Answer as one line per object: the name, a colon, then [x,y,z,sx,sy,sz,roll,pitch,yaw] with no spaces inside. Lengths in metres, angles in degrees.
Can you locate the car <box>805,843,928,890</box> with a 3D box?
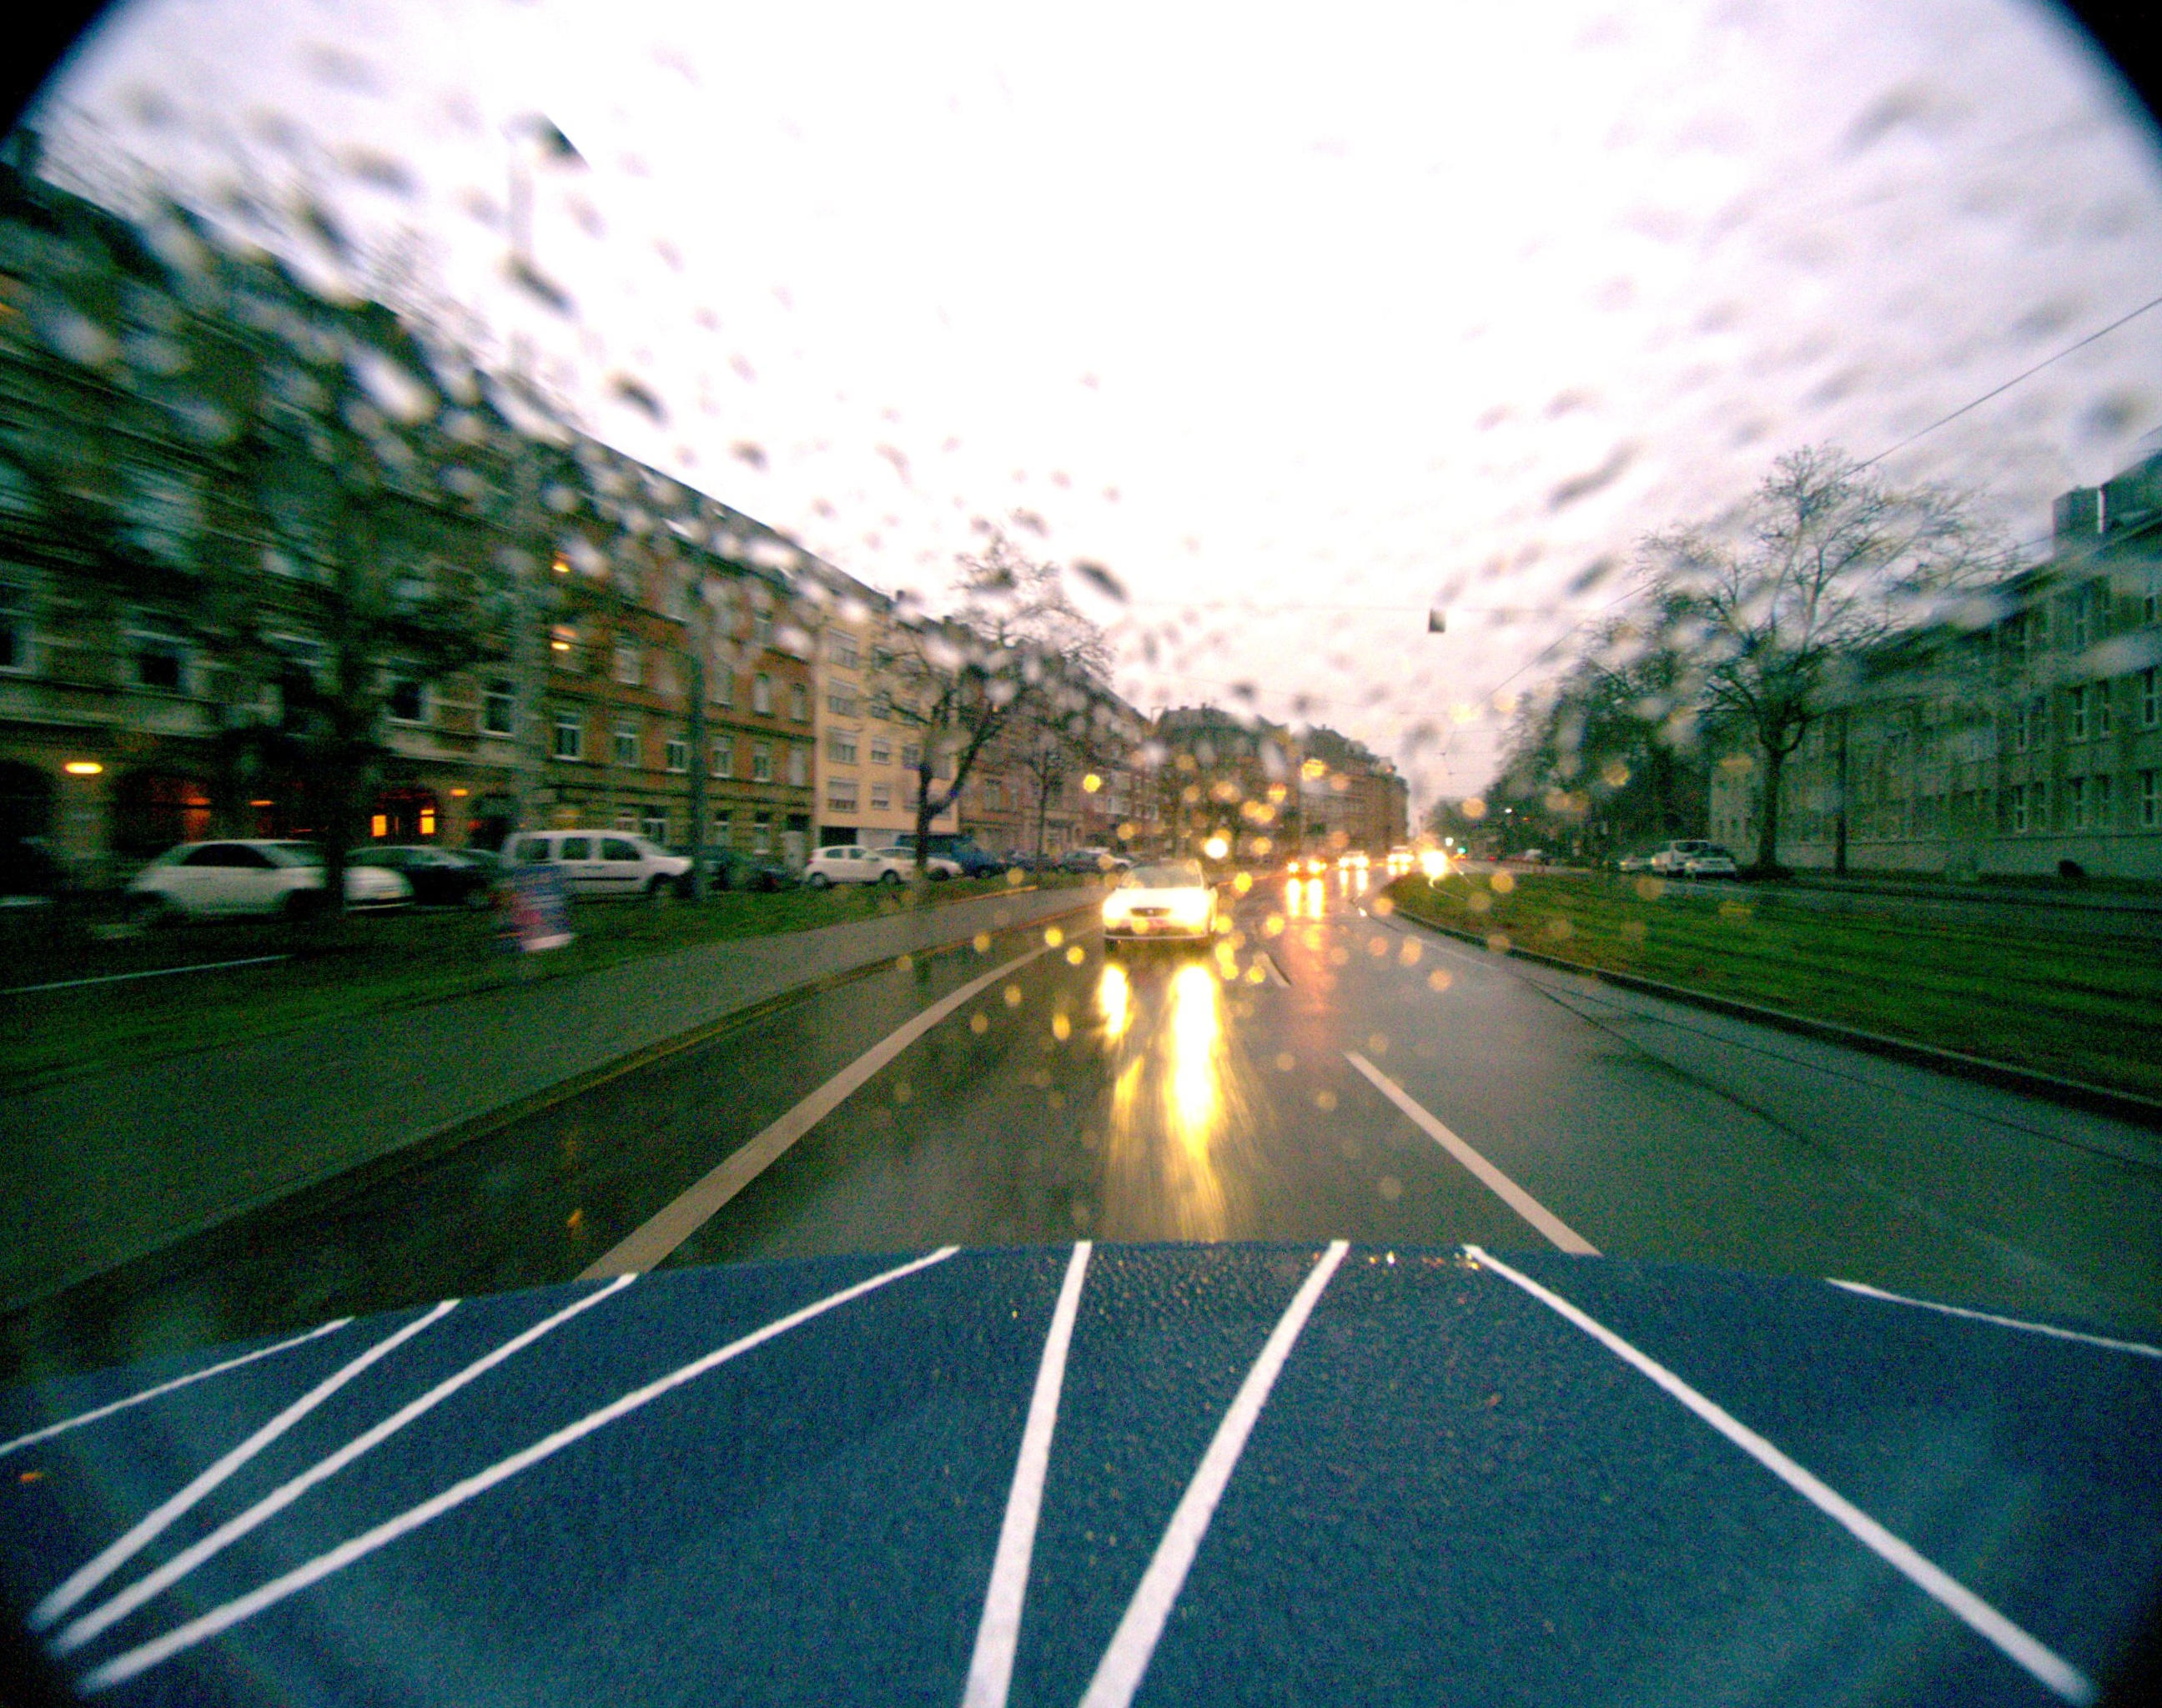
car: [-7.460,0.436,26.708,3.772,1.424,1.761,-3,0,-1]

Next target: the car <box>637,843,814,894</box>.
car: [-9.813,0.414,21.218,4.062,1.227,1.770,2,-1,-4]

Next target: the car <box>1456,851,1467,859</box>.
car: [87.041,0.294,173.793,1.948,1.805,4.008,0,1,33]

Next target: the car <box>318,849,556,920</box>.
car: [-13.385,0.599,15.983,3.433,1.343,1.663,-1,0,-8]

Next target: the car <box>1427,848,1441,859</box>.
car: [59.716,-0.116,128.632,1.646,1.740,3.561,0,1,33]

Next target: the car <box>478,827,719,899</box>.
car: [-11.659,0.215,18.634,4.663,1.583,1.776,1,1,-6]

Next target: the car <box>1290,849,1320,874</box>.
car: [13.277,0.408,45.145,1.588,1.418,3.137,0,0,15]

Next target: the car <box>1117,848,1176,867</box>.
car: [4.387,0.233,51.033,3.765,1.271,1.601,0,0,-5]

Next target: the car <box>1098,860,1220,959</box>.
car: [1.527,0.883,13.555,1.713,1.405,3.682,-2,0,12]

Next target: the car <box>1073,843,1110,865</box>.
car: [0.930,0.000,64.746,1.671,1.693,3.471,-2,0,30]

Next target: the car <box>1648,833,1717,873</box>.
car: [33.503,-0.098,42.460,1.995,2.002,4.516,-3,0,25]

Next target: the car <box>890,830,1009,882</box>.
car: [-5.523,0.075,31.975,4.724,1.971,1.797,-2,0,-12]

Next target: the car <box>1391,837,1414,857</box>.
car: [41.583,-0.931,98.149,2.125,2.366,5.648,-2,0,29]

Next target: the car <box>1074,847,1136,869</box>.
car: [1.506,0.267,47.100,3.763,1.325,1.601,0,1,1]

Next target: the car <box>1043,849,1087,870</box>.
car: [-1.264,0.404,60.186,1.690,1.534,4.007,-2,1,28]

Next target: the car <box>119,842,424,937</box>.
car: [-14.043,0.583,13.354,3.465,1.435,1.613,-2,0,-3]

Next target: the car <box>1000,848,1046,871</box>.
car: [-4.124,0.361,54.411,1.470,1.534,3.879,0,1,28]

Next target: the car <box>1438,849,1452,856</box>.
car: [75.193,-0.291,156.924,1.892,1.405,3.955,0,0,37]

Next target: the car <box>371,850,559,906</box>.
car: [-18.517,0.677,23.077,1.733,1.492,4.057,-3,0,22]

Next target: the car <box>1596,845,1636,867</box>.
car: [40.589,0.136,57.718,1.612,1.650,3.616,0,1,21]

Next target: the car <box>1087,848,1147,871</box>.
car: [2.307,0.353,48.796,3.763,1.324,1.602,-2,0,1]

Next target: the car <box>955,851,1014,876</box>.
car: [-6.236,0.600,49.716,1.748,1.469,4.184,-2,0,26]

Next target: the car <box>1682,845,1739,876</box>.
car: [31.680,0.310,38.308,1.557,1.420,2.960,0,1,26]

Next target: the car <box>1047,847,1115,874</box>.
car: [-0.033,0.360,44.341,3.872,1.398,1.694,-3,1,-3]

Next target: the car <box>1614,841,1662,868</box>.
car: [37.835,-0.010,51.715,1.823,1.645,3.865,-3,0,25]

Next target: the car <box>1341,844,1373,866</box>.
car: [22.970,0.082,63.120,1.671,1.650,4.155,-2,0,30]

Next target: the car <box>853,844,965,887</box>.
car: [-6.535,0.414,29.086,4.001,1.407,1.640,-3,0,-12]

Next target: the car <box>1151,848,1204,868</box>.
car: [7.247,0.305,57.398,3.763,1.346,1.602,-2,0,1]

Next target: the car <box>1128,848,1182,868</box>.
car: [5.313,0.280,54.739,3.763,1.346,1.602,-2,0,1]
